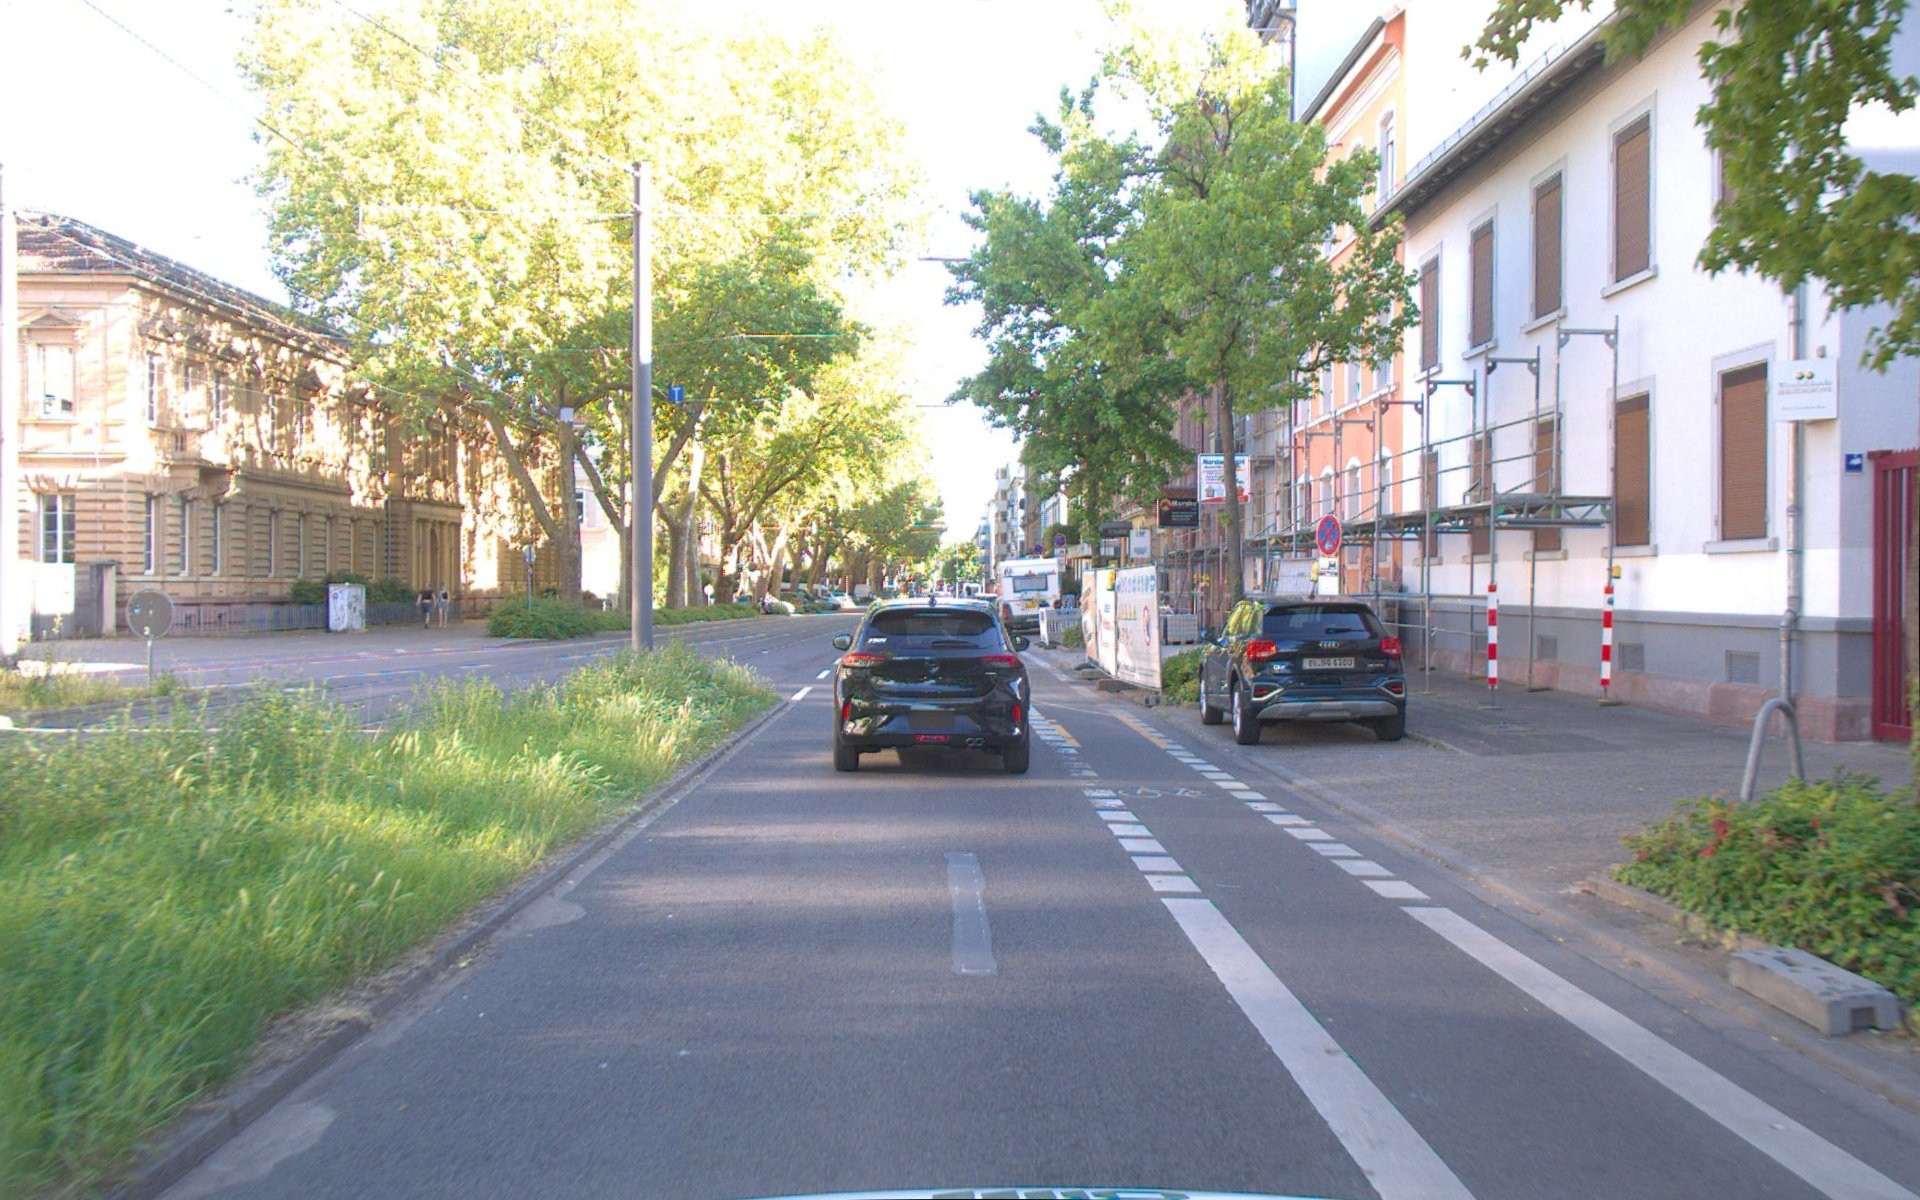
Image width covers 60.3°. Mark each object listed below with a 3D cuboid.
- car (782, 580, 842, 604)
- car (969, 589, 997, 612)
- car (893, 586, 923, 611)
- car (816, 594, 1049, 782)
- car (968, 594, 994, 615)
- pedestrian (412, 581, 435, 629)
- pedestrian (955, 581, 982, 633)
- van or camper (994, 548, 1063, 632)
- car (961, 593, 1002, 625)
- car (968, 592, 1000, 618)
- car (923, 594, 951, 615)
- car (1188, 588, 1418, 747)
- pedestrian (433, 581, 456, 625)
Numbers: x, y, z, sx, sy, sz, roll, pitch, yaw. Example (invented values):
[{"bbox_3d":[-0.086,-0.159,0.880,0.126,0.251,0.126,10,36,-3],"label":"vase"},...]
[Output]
[{"bbox_3d":[-14.320,-0.782,160.524,5.571,2.236,2.289,0,0,0],"label":"car"},{"bbox_3d":[1.531,0.001,111.071,1.866,1.450,4.216,0,1,1],"label":"car"},{"bbox_3d":[-3.329,-0.085,106.747,1.753,1.536,3.874,-1,1,0],"label":"car"},{"bbox_3d":[-0.190,0.699,15.327,1.866,1.450,4.216,0,1,1],"label":"car"},{"bbox_3d":[1.549,0.302,122.094,1.866,1.450,4.216,0,1,1],"label":"car"},{"bbox_3d":[-20.068,0.176,61.910,0.605,1.763,0.596,2,0,-1],"label":"pedestrian"},{"bbox_3d":[0.344,0.281,66.239,1.015,2.059,1.212,1,0,-1],"label":"pedestrian"},{"bbox_3d":[2.614,-0.392,64.714,2.435,3.045,5.435,2,0,1],"label":"van or camper"},{"bbox_3d":[1.034,0.396,79.259,1.866,1.450,4.216,0,1,1],"label":"car"},{"bbox_3d":[1.425,0.282,98.567,1.866,1.450,4.216,0,1,1],"label":"car"},{"bbox_3d":[-1.666,0.321,120.376,1.866,1.450,4.216,0,1,1],"label":"car"},{"bbox_3d":[3.697,0.662,18.484,1.753,1.536,3.874,-1,1,0],"label":"car"},{"bbox_3d":[-19.372,0.109,62.165,0.645,1.650,0.615,2,0,-1],"label":"pedestrian"}]
